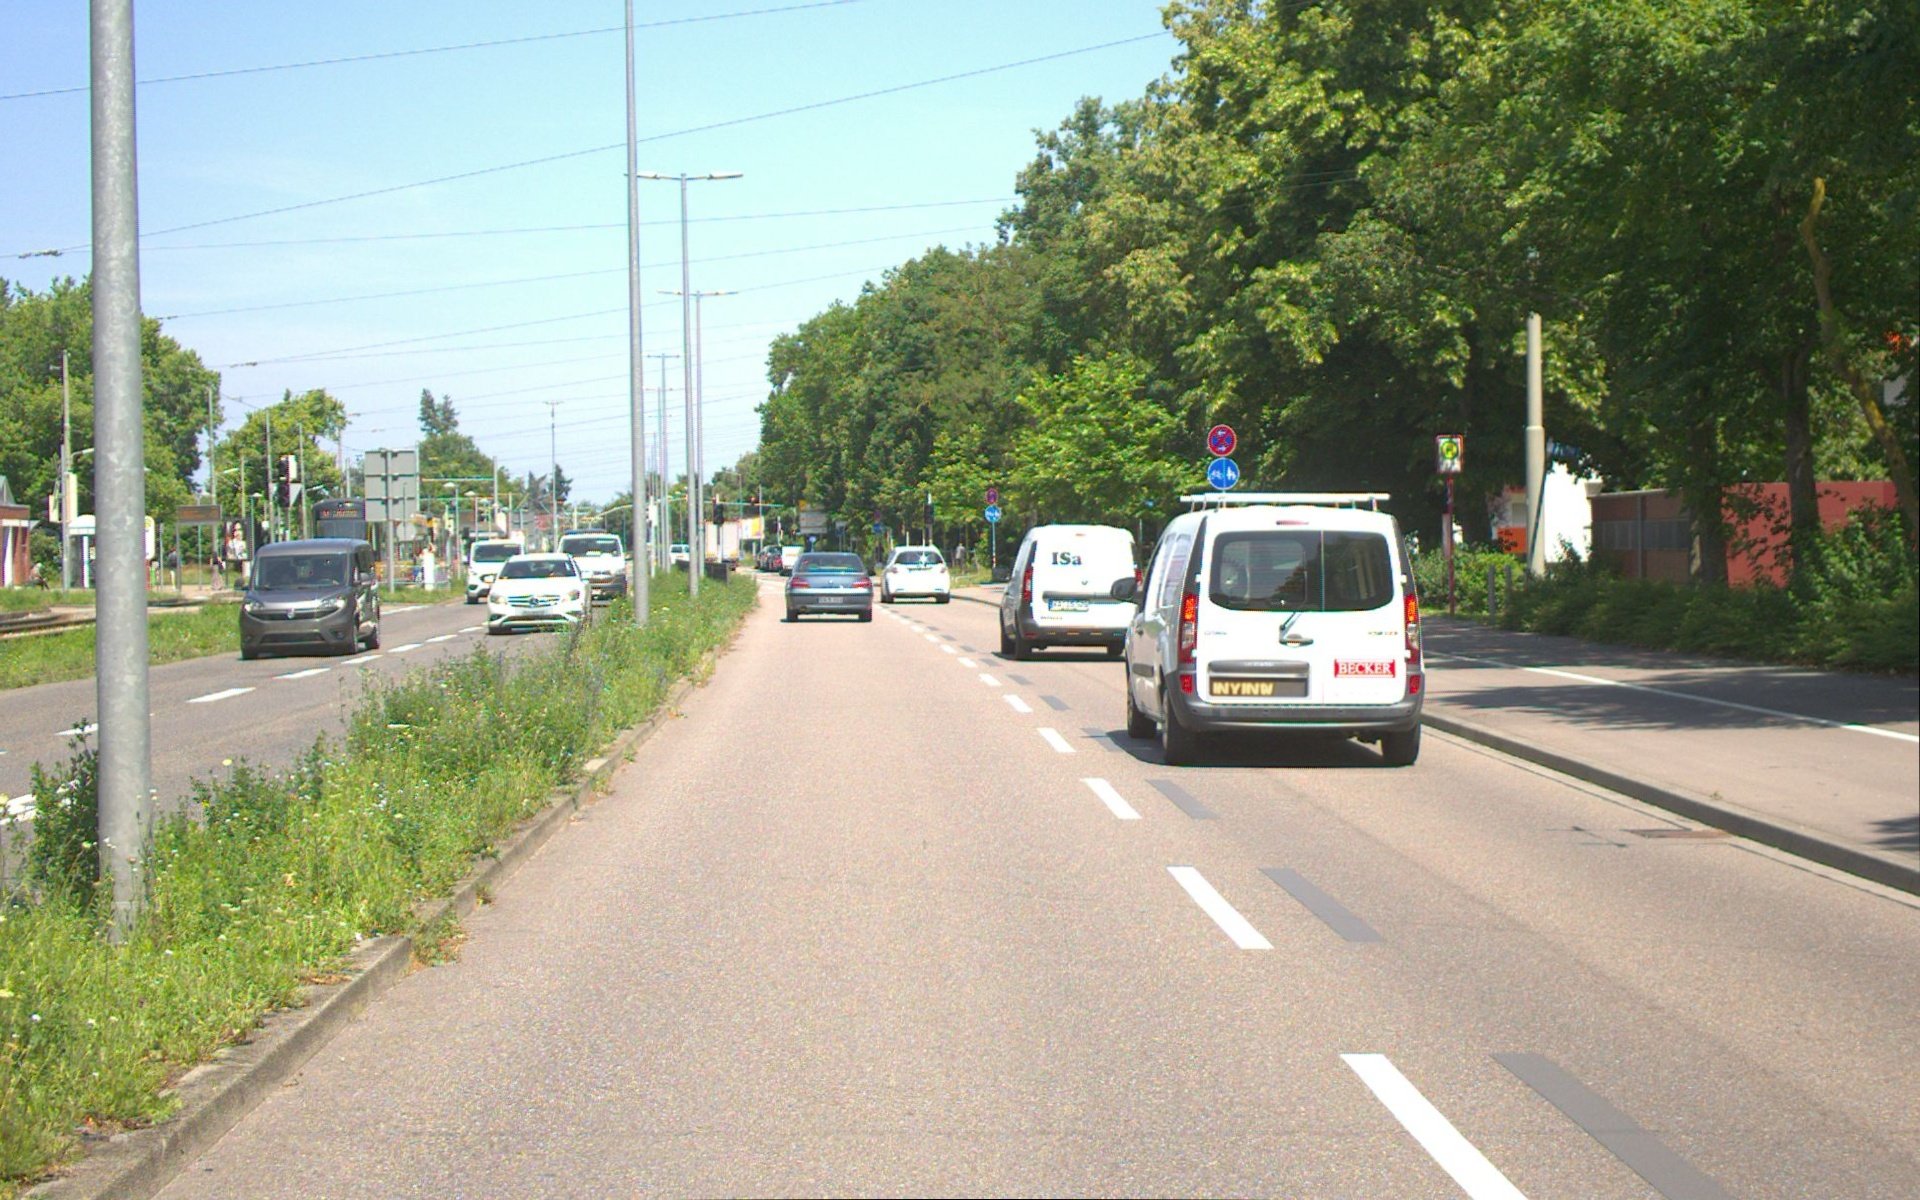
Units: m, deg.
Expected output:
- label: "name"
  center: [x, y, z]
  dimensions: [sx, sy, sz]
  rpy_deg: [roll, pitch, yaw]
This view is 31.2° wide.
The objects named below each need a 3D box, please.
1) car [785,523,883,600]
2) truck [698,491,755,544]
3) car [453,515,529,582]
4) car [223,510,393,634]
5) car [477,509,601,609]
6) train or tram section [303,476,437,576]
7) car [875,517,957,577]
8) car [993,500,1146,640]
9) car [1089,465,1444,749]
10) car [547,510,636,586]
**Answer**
- label: "car"
  center: [-2.564, -0.792, 69.117]
  dimensions: [1.801, 1.481, 4.001]
  rpy_deg: [0, 1, -4]
- label: "truck"
  center: [-17.694, -6.238, 260.101]
  dimensions: [3.898, 3.799, 10.795]
  rpy_deg: [-1, 1, -6]
- label: "car"
  center: [-14.987, -1.676, 110.005]
  dimensions: [1.888, 2.010, 5.083]
  rpy_deg: [-3, 1, -3]
- label: "car"
  center: [-10.206, -0.479, 54.100]
  dimensions: [1.830, 1.795, 4.615]
  rpy_deg: [-2, 1, -1]
- label: "car"
  center: [-7.799, -0.787, 63.976]
  dimensions: [1.830, 1.732, 4.038]
  rpy_deg: [-2, 1, -1]
- label: "train or tram section"
  center: [-24.363, -3.056, 144.009]
  dimensions: [2.787, 3.655, 37.526]
  rpy_deg: [0, 1, -6]
- label: "car"
  center: [-1.192, -1.425, 91.933]
  dimensions: [1.803, 1.534, 4.001]
  rpy_deg: [0, 1, -6]
- label: "car"
  center: [1.440, -0.446, 46.571]
  dimensions: [1.727, 1.807, 4.001]
  rpy_deg: [0, 2, -3]
- label: "car"
  center: [2.125, 0.005, 25.063]
  dimensions: [1.824, 1.875, 4.457]
  rpy_deg: [0, 1, -5]
- label: "car"
  center: [-9.713, -1.404, 90.994]
  dimensions: [1.830, 1.899, 5.567]
  rpy_deg: [-2, 1, -1]
